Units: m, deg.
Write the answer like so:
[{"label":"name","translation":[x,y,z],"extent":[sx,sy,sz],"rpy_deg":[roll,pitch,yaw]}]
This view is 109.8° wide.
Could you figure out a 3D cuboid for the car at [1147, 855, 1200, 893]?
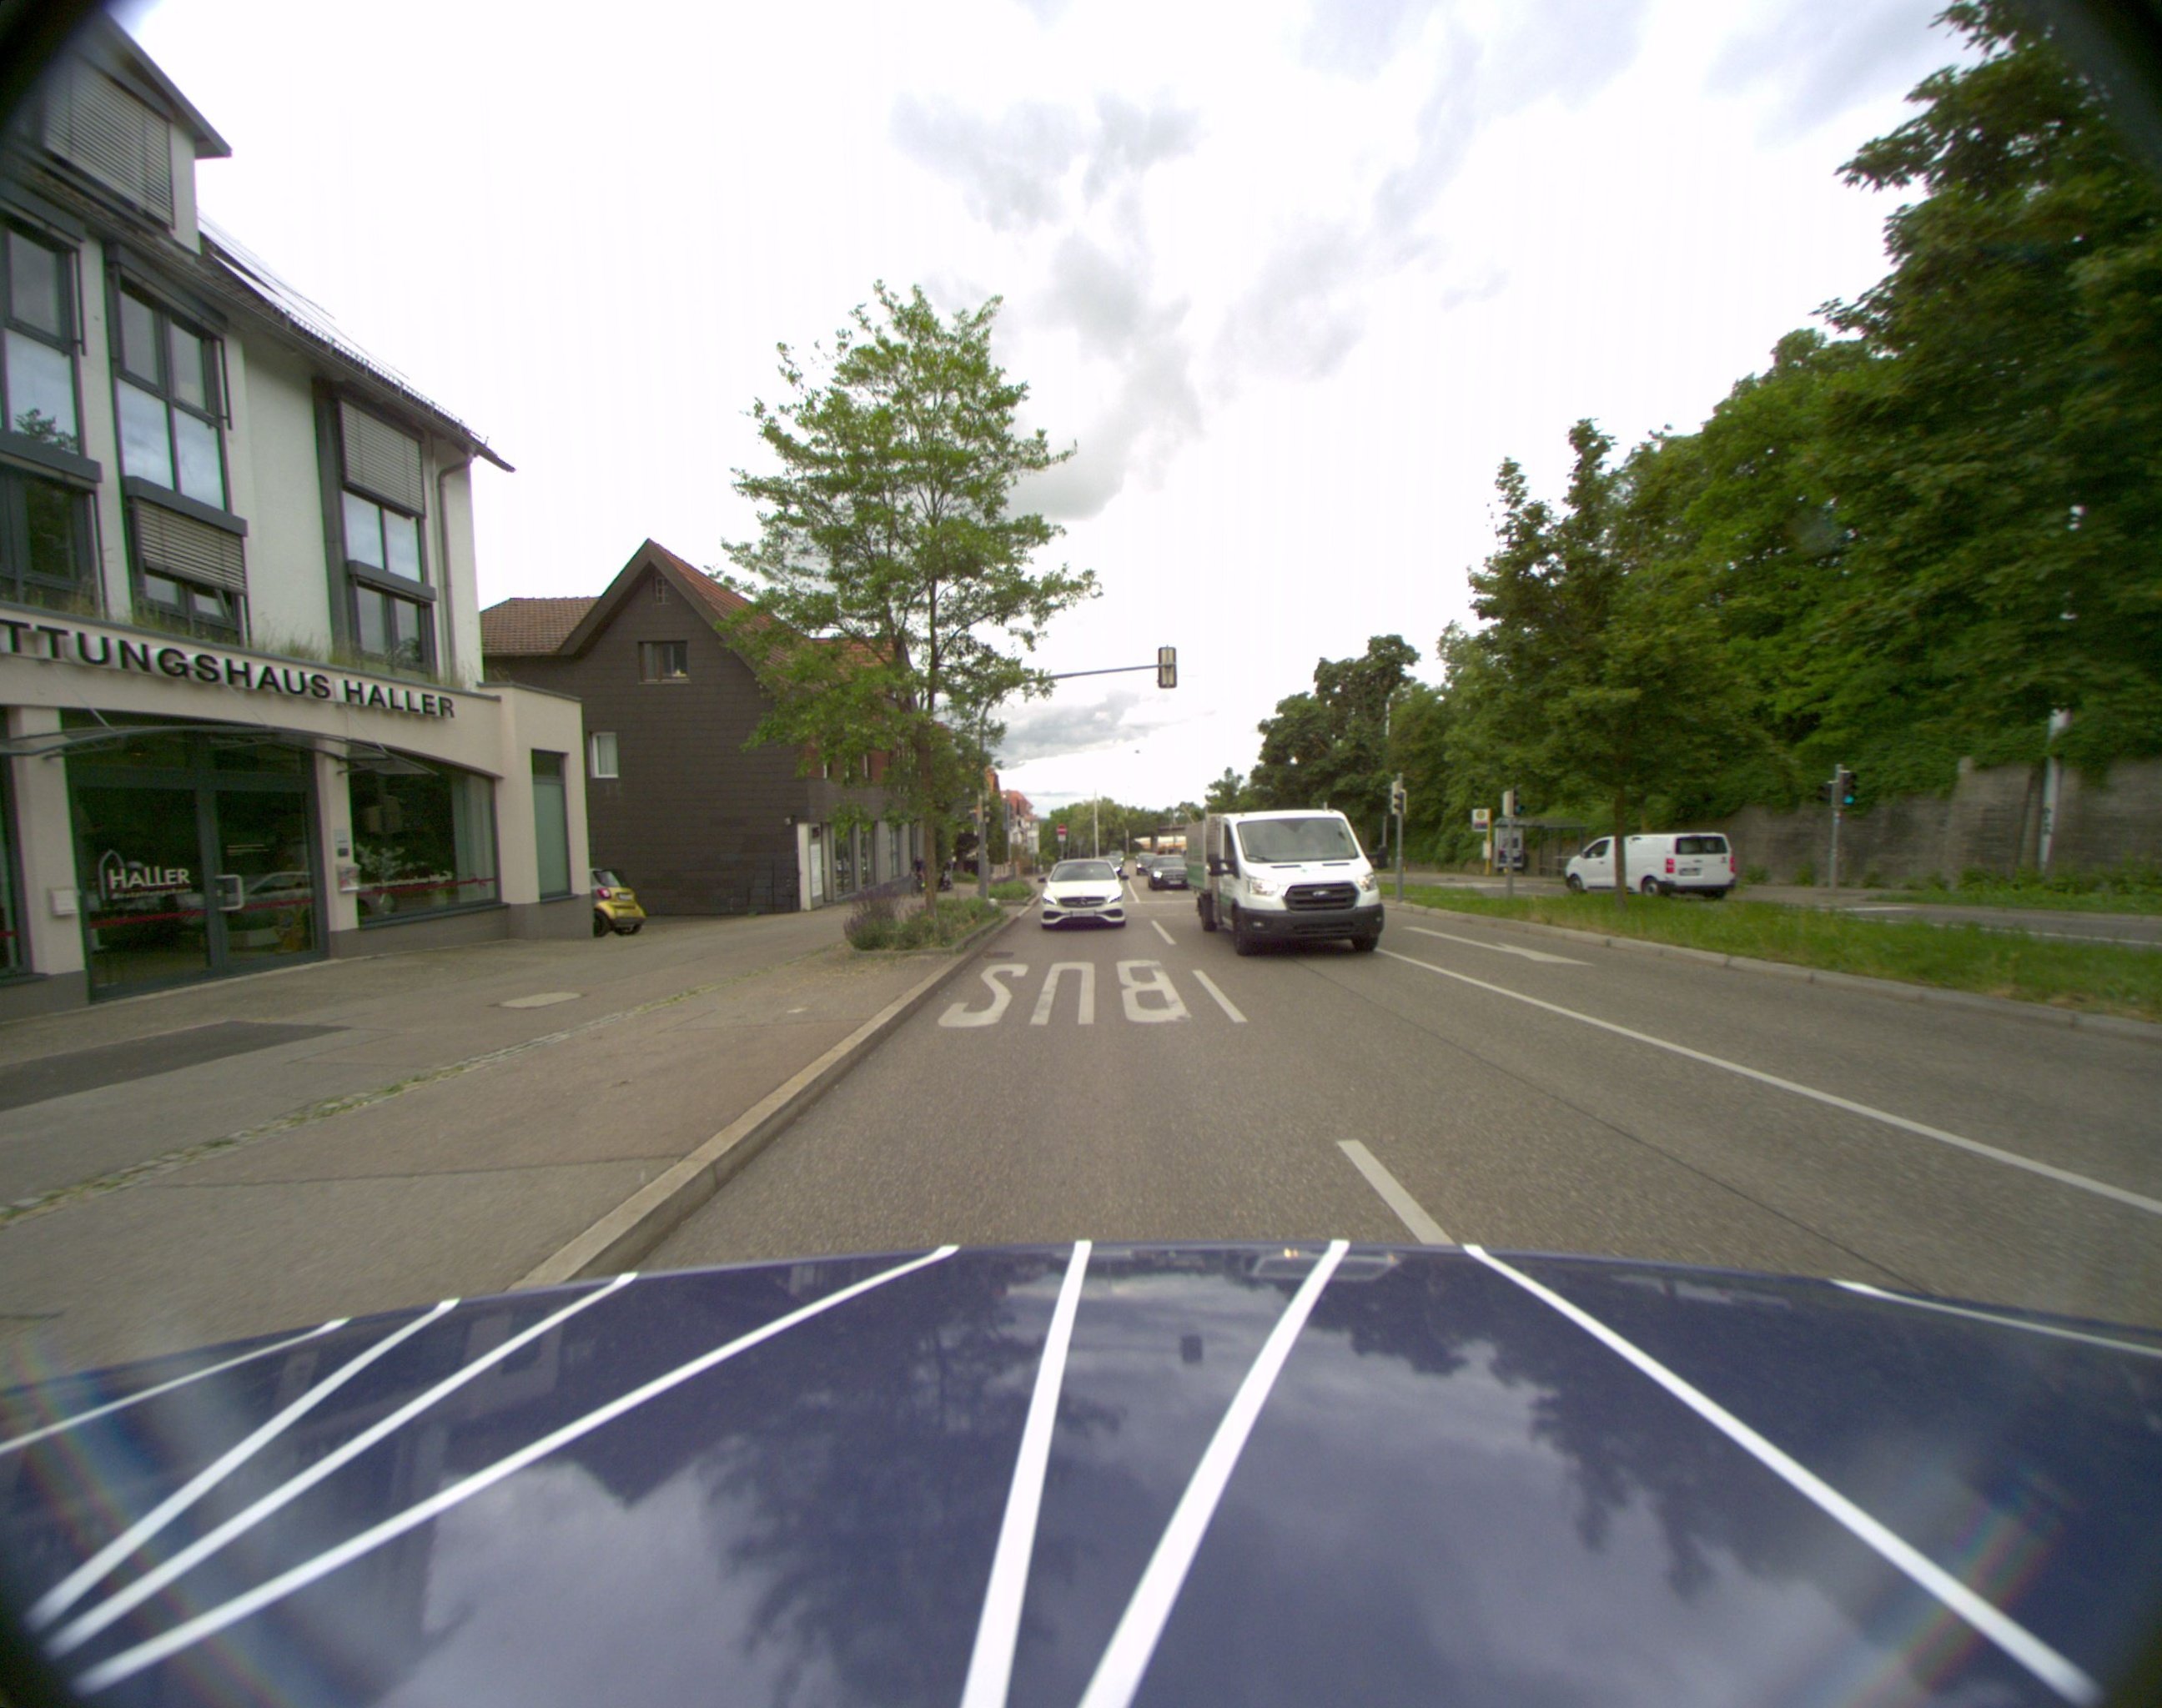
[{"label":"car","translation":[3.981,0.820,33.307],"extent":[1.915,1.472,4.401],"rpy_deg":[-2,0,2]}]

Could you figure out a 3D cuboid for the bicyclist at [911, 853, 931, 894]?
[{"label":"bicyclist","translation":[-6.498,0.776,30.807],"extent":[0.539,1.623,0.947],"rpy_deg":[-2,0,2]}]

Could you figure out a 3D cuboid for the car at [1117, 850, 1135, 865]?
[{"label":"car","translation":[5.545,0.403,93.190],"extent":[1.776,1.783,4.003],"rpy_deg":[0,0,9]}]

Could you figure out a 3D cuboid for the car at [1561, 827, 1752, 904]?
[{"label":"car","translation":[16.633,0.296,22.372],"extent":[1.943,1.946,5.022],"rpy_deg":[-2,0,2]}]

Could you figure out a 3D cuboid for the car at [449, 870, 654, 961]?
[{"label":"car","translation":[-11.024,1.243,16.027],"extent":[2.999,1.455,1.666],"rpy_deg":[-7,-1,-8]}]

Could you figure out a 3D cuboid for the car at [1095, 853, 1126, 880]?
[{"label":"car","translation":[1.838,0.757,46.475],"extent":[1.777,1.532,4.001],"rpy_deg":[-2,0,4]}]

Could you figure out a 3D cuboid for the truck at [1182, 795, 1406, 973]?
[{"label":"truck","translation":[3.216,0.358,13.138],"extent":[2.080,2.308,6.331],"rpy_deg":[-1,1,0]}]

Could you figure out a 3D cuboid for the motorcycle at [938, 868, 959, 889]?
[{"label":"motorcycle","translation":[-7.092,1.315,40.774],"extent":[0.697,1.045,1.967],"rpy_deg":[0,0,3]}]

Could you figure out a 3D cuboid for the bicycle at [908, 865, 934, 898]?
[{"label":"bicycle","translation":[-6.485,1.094,30.814],"extent":[0.572,1.254,2.039],"rpy_deg":[0,-1,1]}]

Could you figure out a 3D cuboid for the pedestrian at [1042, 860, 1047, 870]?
[{"label":"pedestrian","translation":[-5.391,1.650,111.988],"extent":[0.713,1.462,0.695],"rpy_deg":[-2,0,1]}]

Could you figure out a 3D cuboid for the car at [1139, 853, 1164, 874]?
[{"label":"car","translation":[5.358,0.700,57.936],"extent":[1.777,1.520,4.001],"rpy_deg":[0,0,4]}]

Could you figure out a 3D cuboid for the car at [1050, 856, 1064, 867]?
[{"label":"car","translation":[-3.762,1.216,118.962],"extent":[1.923,1.641,4.000],"rpy_deg":[-2,0,1]}]

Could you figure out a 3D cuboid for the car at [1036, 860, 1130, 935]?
[{"label":"car","translation":[0.171,0.873,16.944],"extent":[1.817,1.390,4.001],"rpy_deg":[-1,0,4]}]
